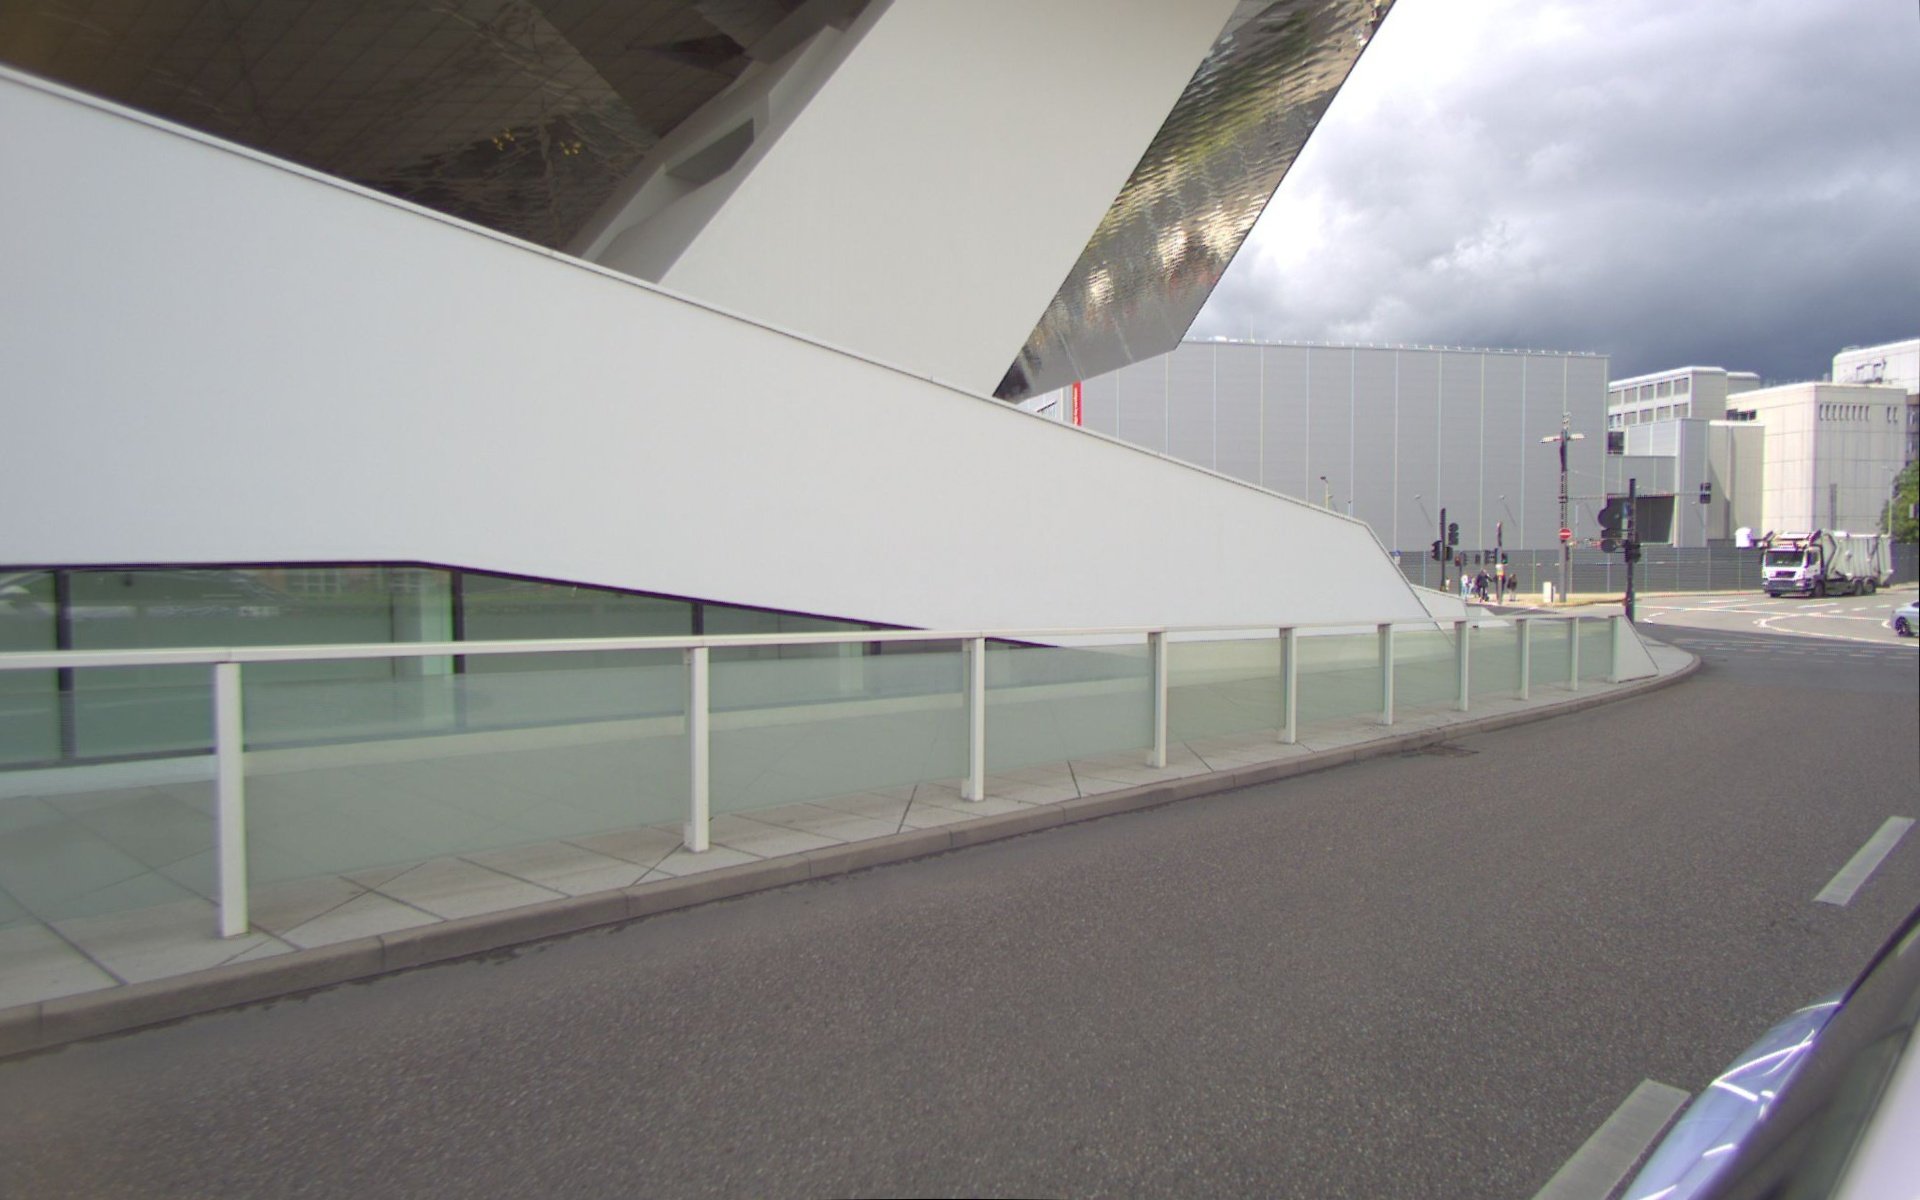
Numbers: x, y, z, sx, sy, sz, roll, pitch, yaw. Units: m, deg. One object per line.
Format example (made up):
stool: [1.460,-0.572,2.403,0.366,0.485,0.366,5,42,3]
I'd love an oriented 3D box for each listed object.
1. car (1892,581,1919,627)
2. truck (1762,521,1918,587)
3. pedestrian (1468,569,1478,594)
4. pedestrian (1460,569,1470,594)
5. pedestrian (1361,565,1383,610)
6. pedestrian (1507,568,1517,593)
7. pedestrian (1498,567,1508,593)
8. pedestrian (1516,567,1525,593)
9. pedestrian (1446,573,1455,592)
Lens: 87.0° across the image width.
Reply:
car: [32.360,0.209,32.072,2.019,1.504,4.766,1,2,13]
truck: [53.026,-2.712,60.906,10.530,3.736,2.851,0,2,-24]
pedestrian: [30.560,-1.114,60.268,0.377,1.475,0.389,1,2,12]
pedestrian: [30.198,-1.128,60.511,0.377,1.490,0.389,1,2,12]
pedestrian: [16.302,-0.504,40.071,0.589,1.765,0.560,-1,2,-40]
pedestrian: [32.718,-1.159,59.971,0.354,1.499,0.402,1,2,11]
pedestrian: [32.228,-1.189,60.078,0.420,1.572,0.389,1,2,12]
pedestrian: [33.204,-1.187,59.907,0.323,1.499,0.359,1,2,9]
pedestrian: [29.694,-1.062,61.208,0.377,1.158,0.389,1,2,12]
